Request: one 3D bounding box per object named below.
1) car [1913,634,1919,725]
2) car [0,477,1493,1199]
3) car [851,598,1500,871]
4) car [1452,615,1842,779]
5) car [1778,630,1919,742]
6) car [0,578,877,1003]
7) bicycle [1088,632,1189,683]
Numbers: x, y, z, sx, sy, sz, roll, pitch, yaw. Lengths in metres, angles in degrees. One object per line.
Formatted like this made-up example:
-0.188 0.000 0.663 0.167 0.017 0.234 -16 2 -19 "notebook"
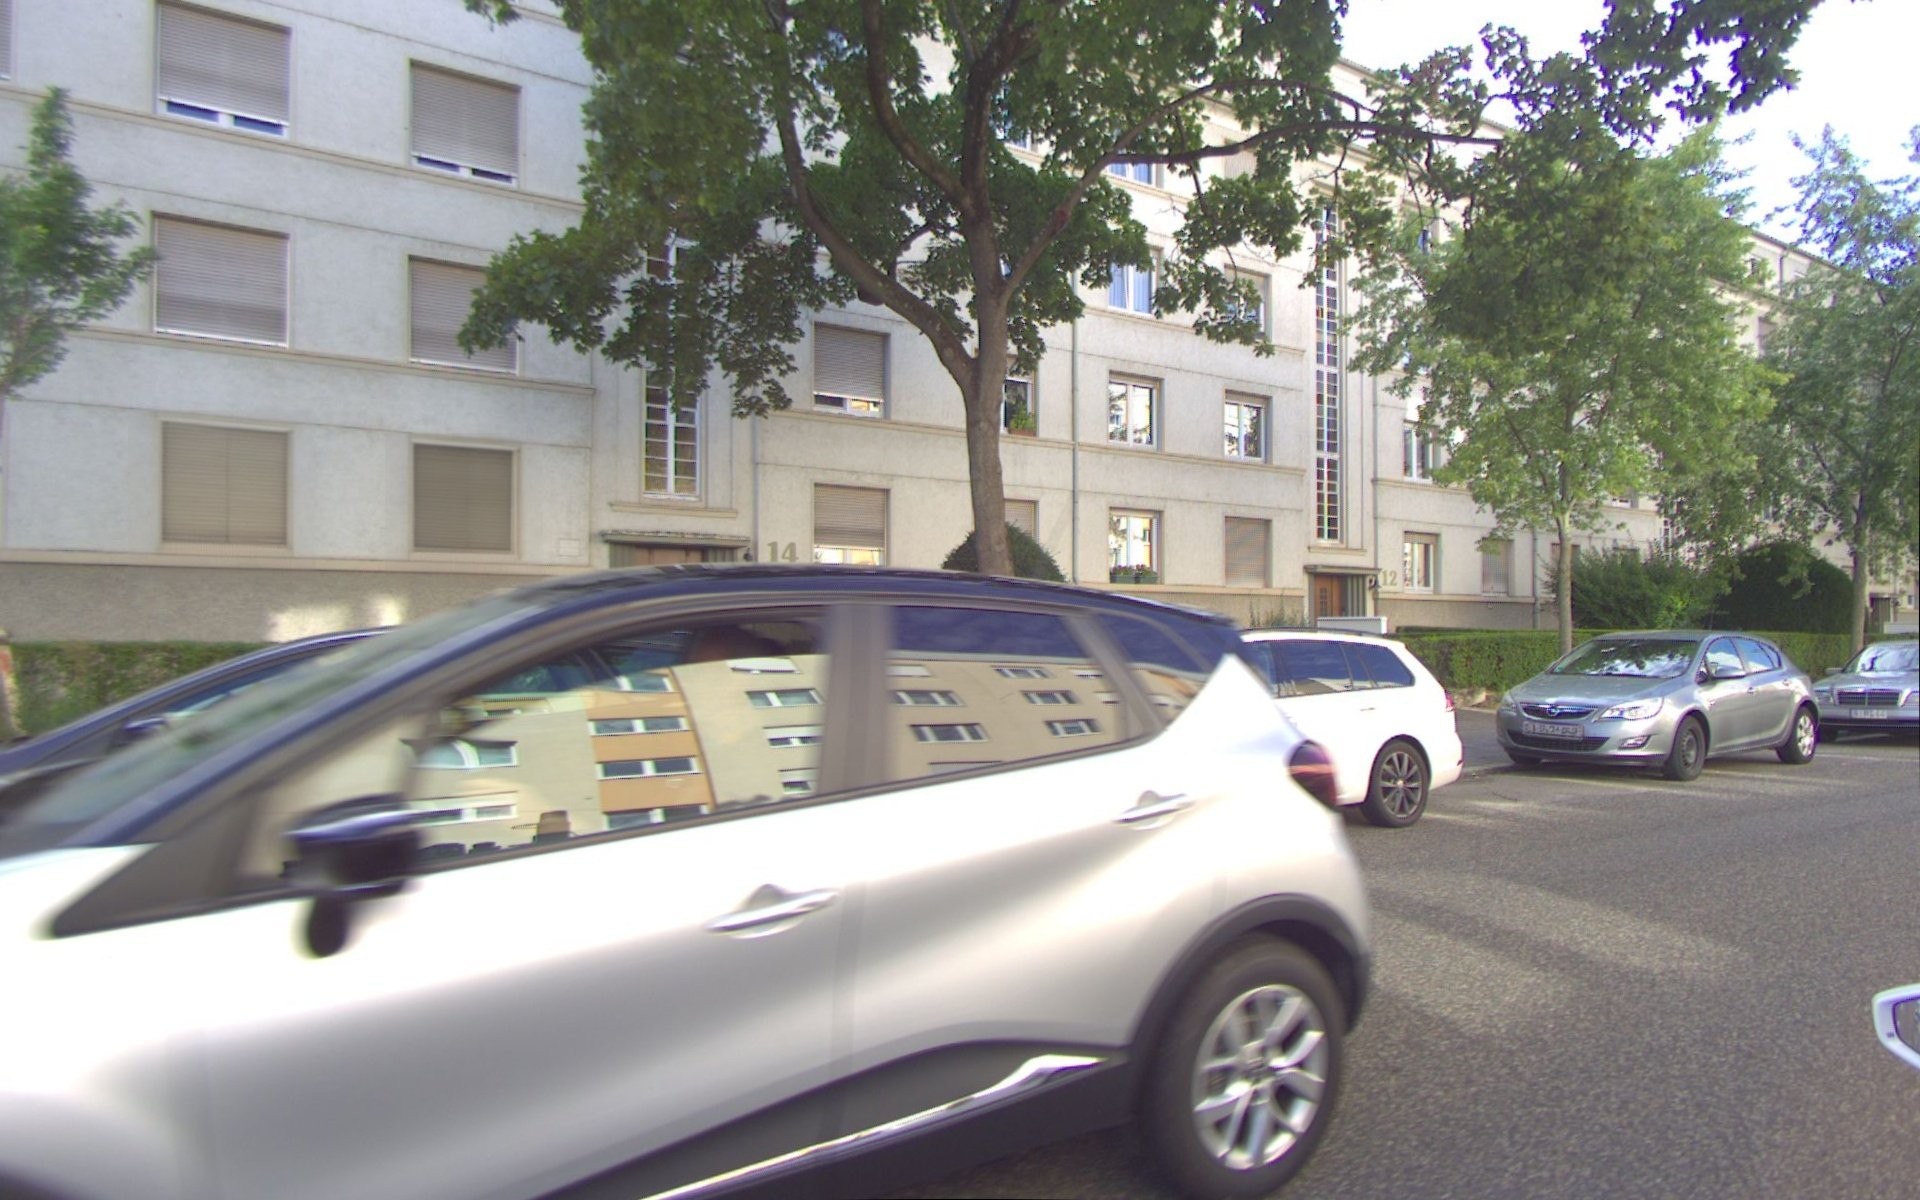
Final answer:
18.411 1.289 17.056 4.885 1.505 1.848 1 -4 -30 "car"
-0.582 0.648 2.671 3.963 1.521 1.732 1 -2 -30 "car"
1.731 0.851 7.570 4.741 1.505 1.848 1 -5 -30 "car"
7.772 0.965 11.257 4.630 1.505 1.846 1 -2 -31 "car"
13.772 1.156 14.322 4.611 1.411 1.730 1 -4 -31 "car"
-2.889 0.714 4.930 4.628 1.505 1.847 1 -2 -30 "car"
3.986 1.276 22.376 2.377 1.074 0.631 1 -1 -31 "bicycle"
